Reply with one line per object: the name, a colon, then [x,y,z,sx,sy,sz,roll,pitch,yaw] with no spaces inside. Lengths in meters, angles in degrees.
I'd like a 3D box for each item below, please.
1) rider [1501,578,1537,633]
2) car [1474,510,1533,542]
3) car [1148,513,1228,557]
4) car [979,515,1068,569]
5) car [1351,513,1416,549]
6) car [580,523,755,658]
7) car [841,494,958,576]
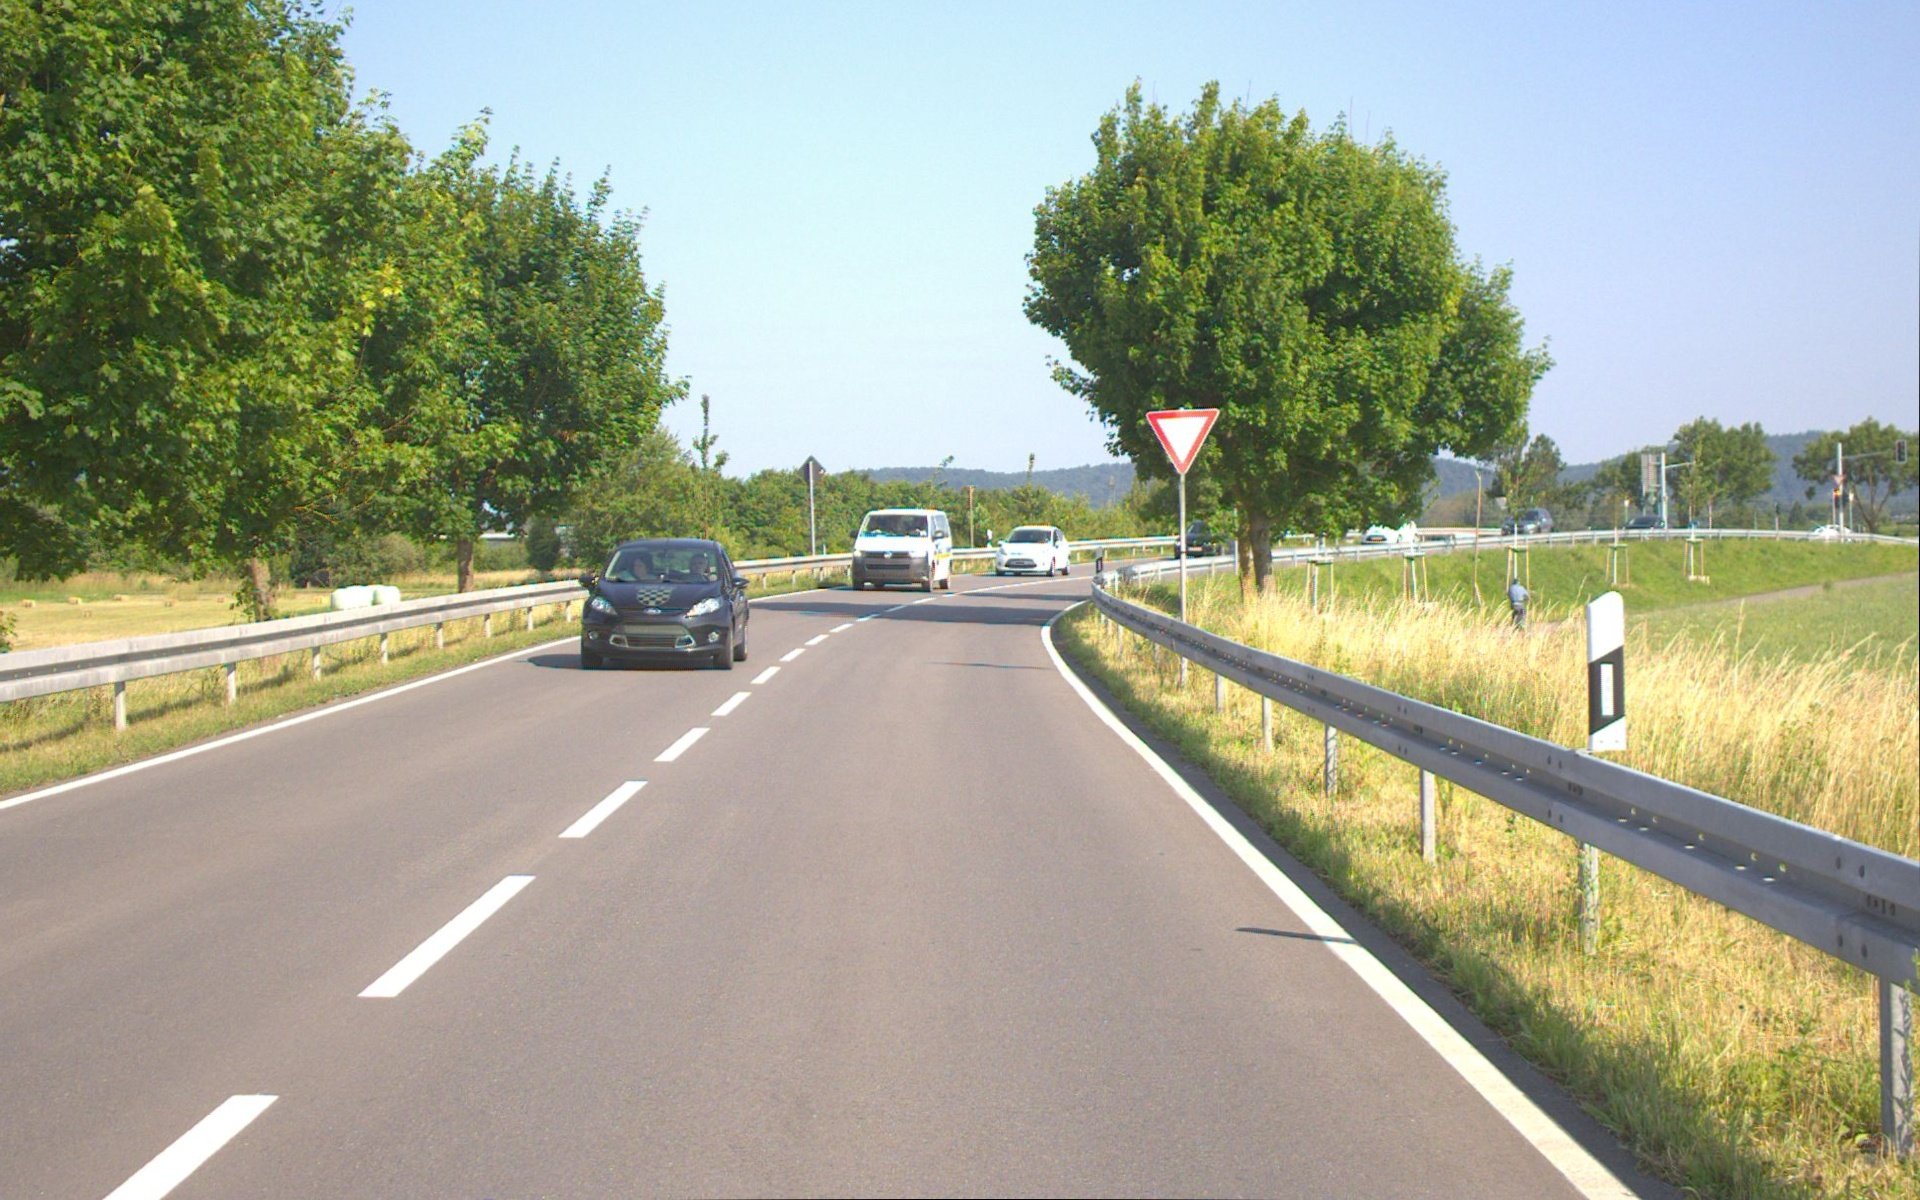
rider: [15.505,0.153,95.352,0.610,1.522,1.824,1,0,21]
car: [26.855,-3.665,169.795,1.995,1.527,4.587,1,1,20]
car: [8.391,-2.386,126.032,1.995,1.527,4.588,1,1,16]
car: [1.896,-1.705,101.241,1.903,1.527,4.590,1,1,10]
car: [18.602,-3.025,150.931,1.995,1.527,4.587,1,1,18]
car: [-3.320,-0.139,39.569,1.644,1.466,3.807,0,1,1]
car: [-1.400,-1.553,81.784,1.994,1.878,4.590,1,1,9]
